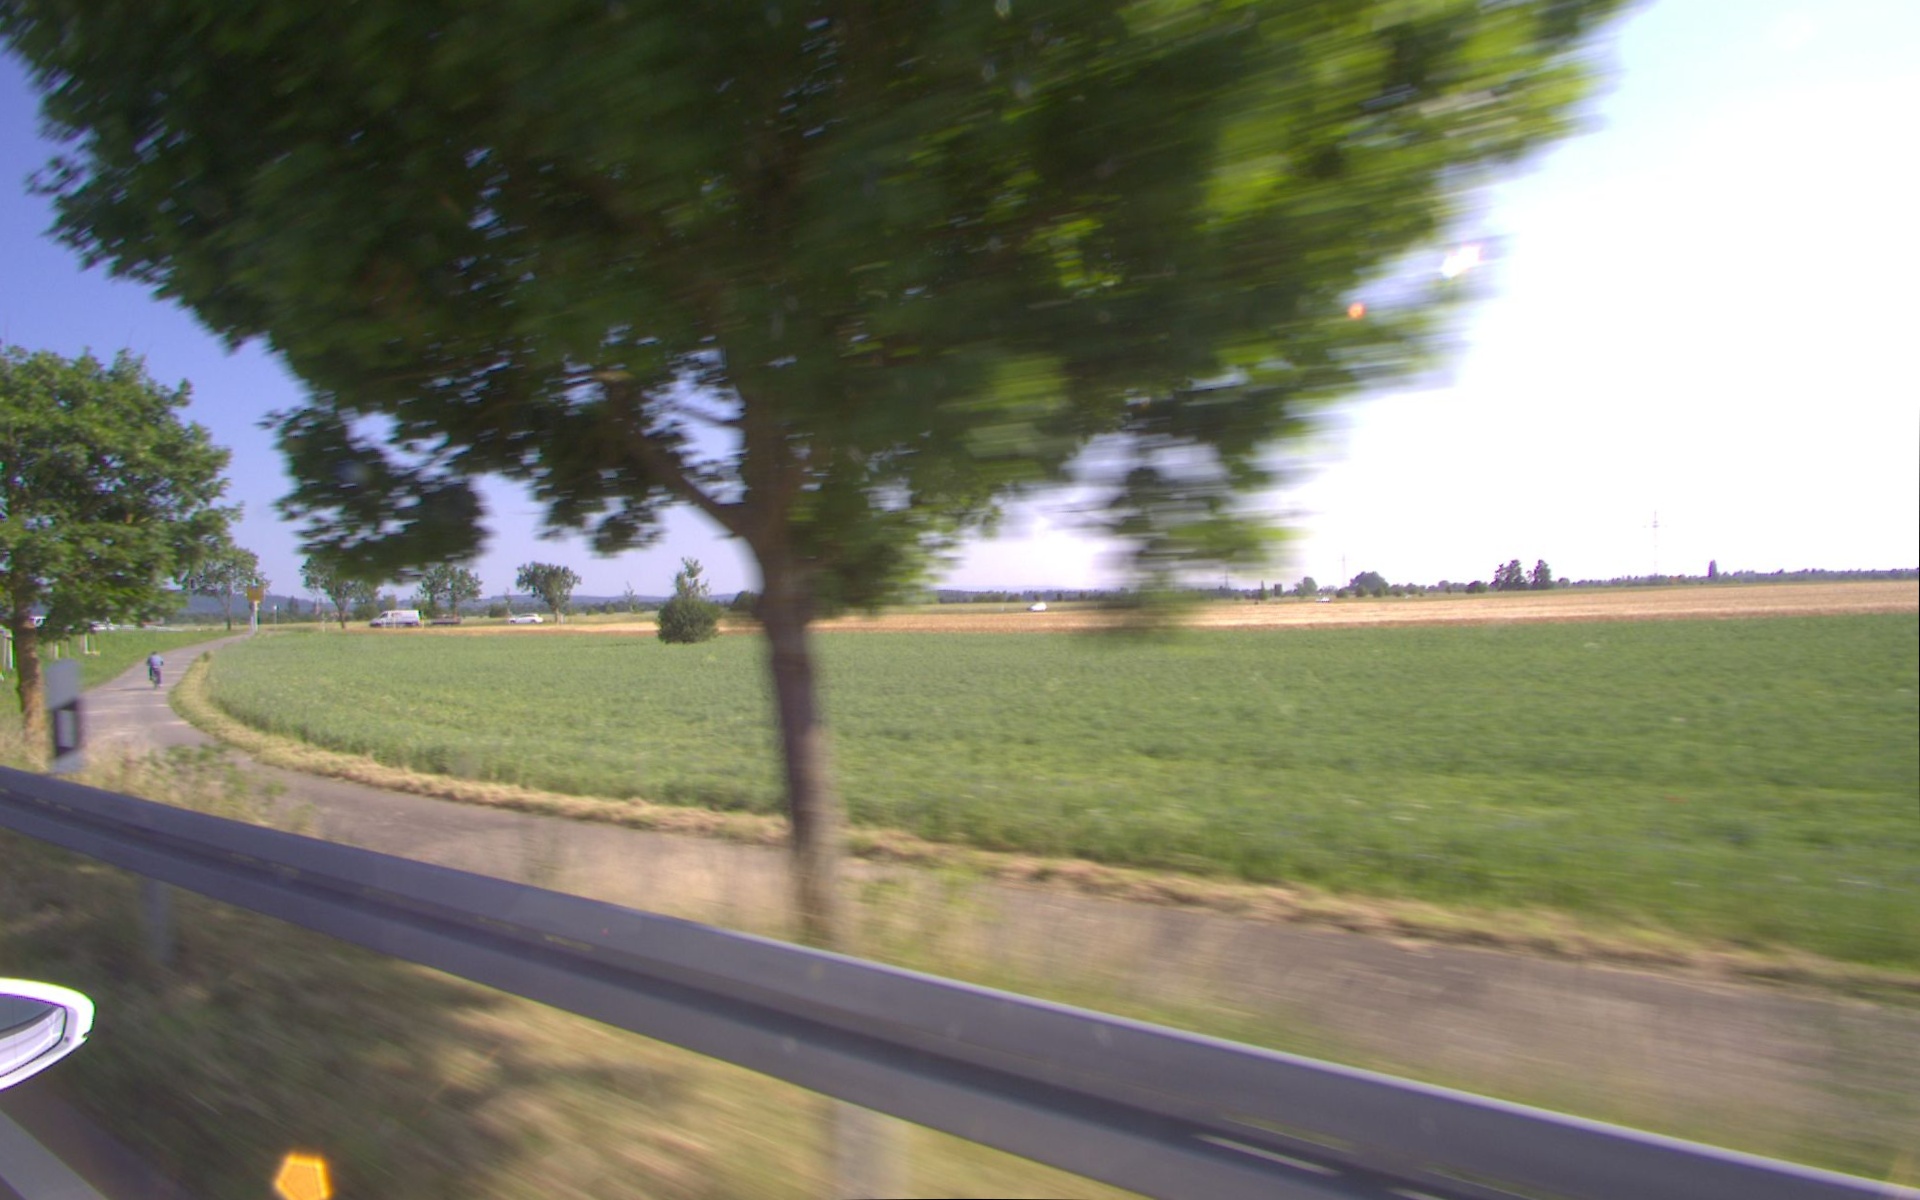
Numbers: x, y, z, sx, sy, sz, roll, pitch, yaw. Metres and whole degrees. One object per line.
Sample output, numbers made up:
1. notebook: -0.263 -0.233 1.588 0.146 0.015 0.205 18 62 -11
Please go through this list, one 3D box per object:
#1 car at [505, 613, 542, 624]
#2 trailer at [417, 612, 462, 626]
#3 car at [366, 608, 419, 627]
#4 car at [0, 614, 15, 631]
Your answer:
1. car: -61.530 2.613 141.192 4.806 1.529 1.994 1 -2 -24
2. trailer: -71.201 2.632 136.968 5.189 1.776 1.949 -1 -1 -21
3. car: -76.511 2.341 135.104 5.876 2.524 1.995 1 -2 -21
4. car: -95.398 2.254 99.192 1.777 1.468 4.672 1 1 -34
